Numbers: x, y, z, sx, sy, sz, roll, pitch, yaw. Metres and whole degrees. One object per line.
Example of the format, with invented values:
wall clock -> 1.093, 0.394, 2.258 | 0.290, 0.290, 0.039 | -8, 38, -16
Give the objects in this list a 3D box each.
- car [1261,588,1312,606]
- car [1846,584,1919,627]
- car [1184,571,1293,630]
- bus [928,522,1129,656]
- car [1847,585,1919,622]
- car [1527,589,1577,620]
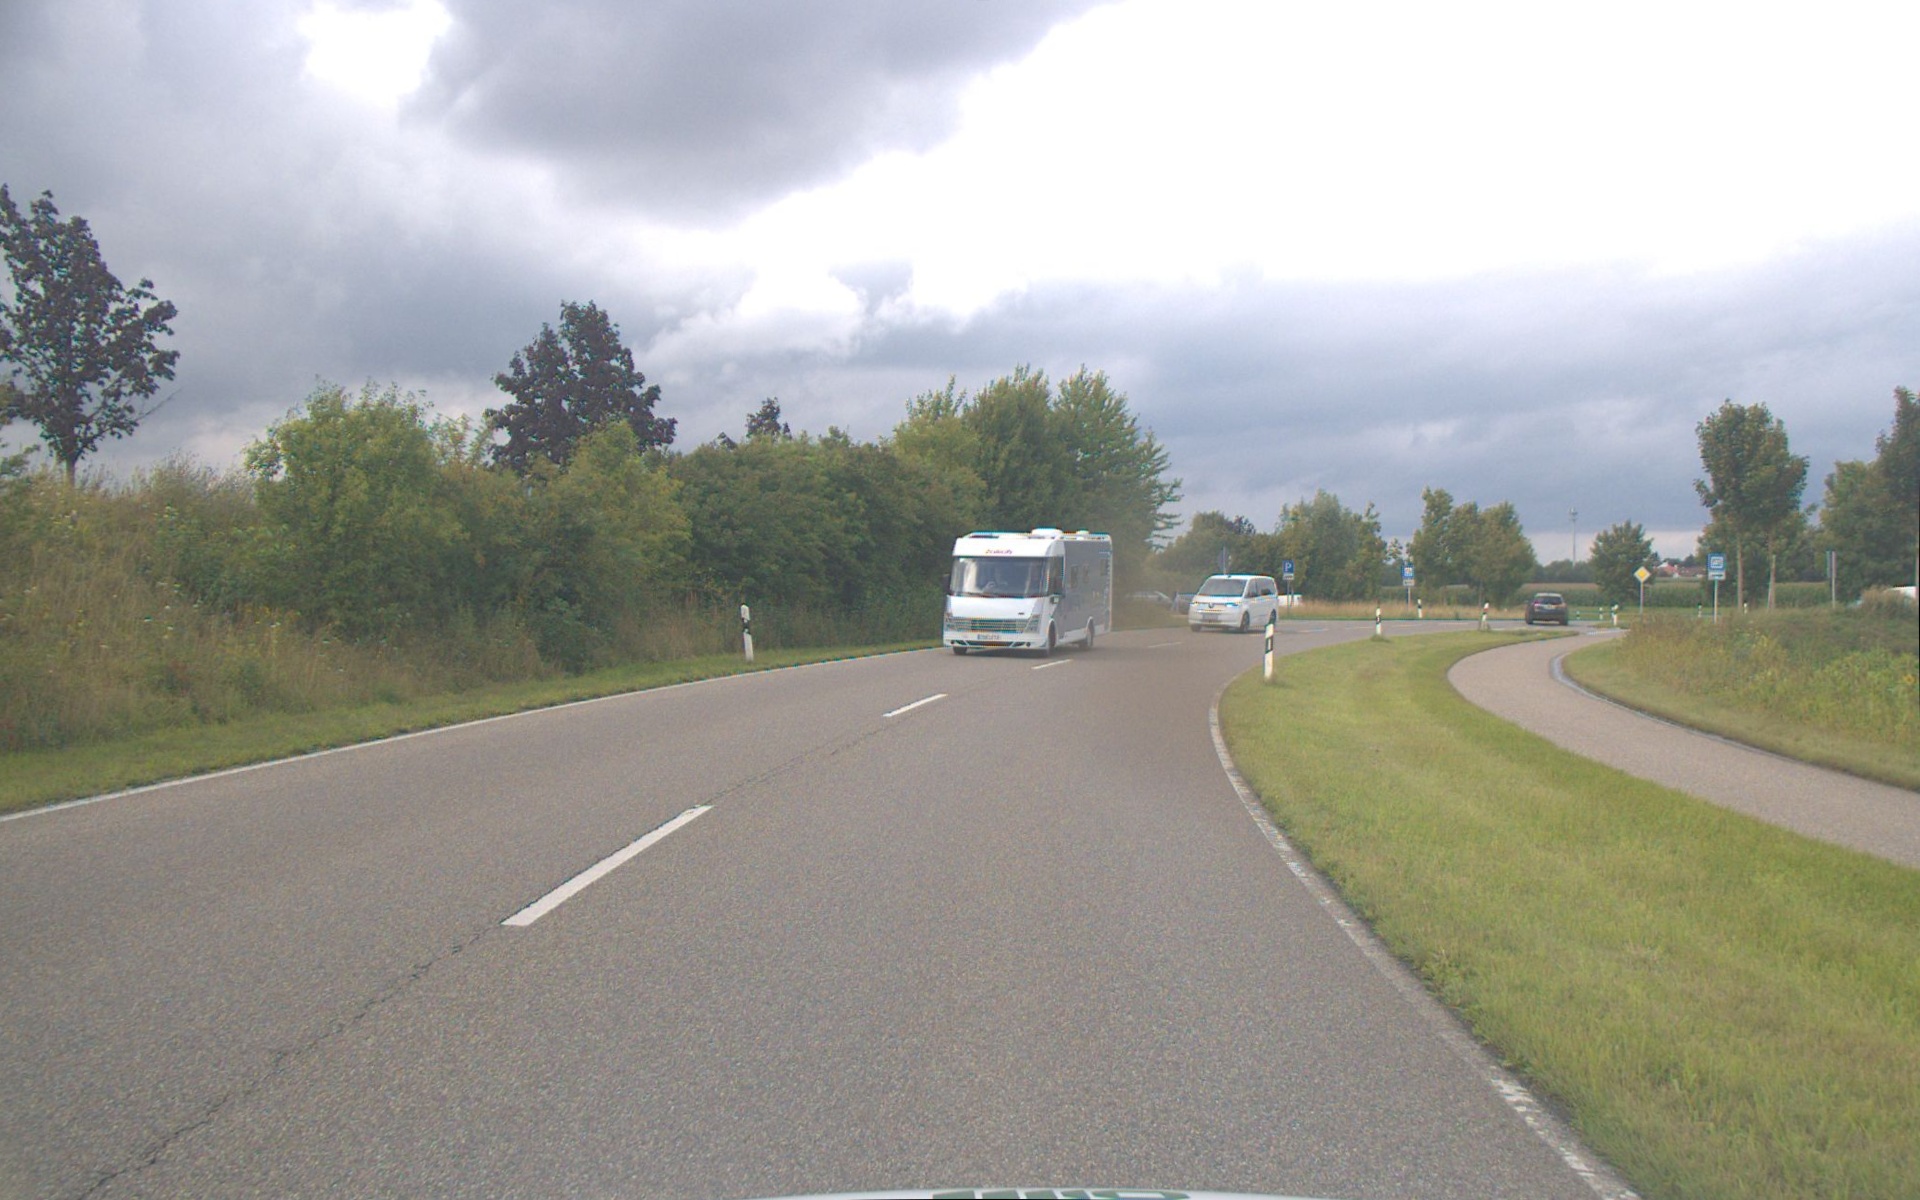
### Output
car -> 26.579, -0.247, 134.588 | 3.904, 1.404, 1.476 | 0, 0, 20
car -> 45.151, 0.256, 78.917 | 4.864, 2.008, 1.947 | 0, 0, 37
car -> 9.603, 0.001, 56.696 | 2.073, 1.901, 5.178 | 0, 0, 29
bus -> 1.807, -0.254, 38.311 | 2.423, 2.758, 8.434 | 0, 0, 18
car -> 42.412, 0.147, 74.401 | 4.201, 1.593, 1.830 | -1, -1, 37
car -> 28.212, 0.188, 78.774 | 1.805, 1.442, 3.996 | 0, 0, 26
